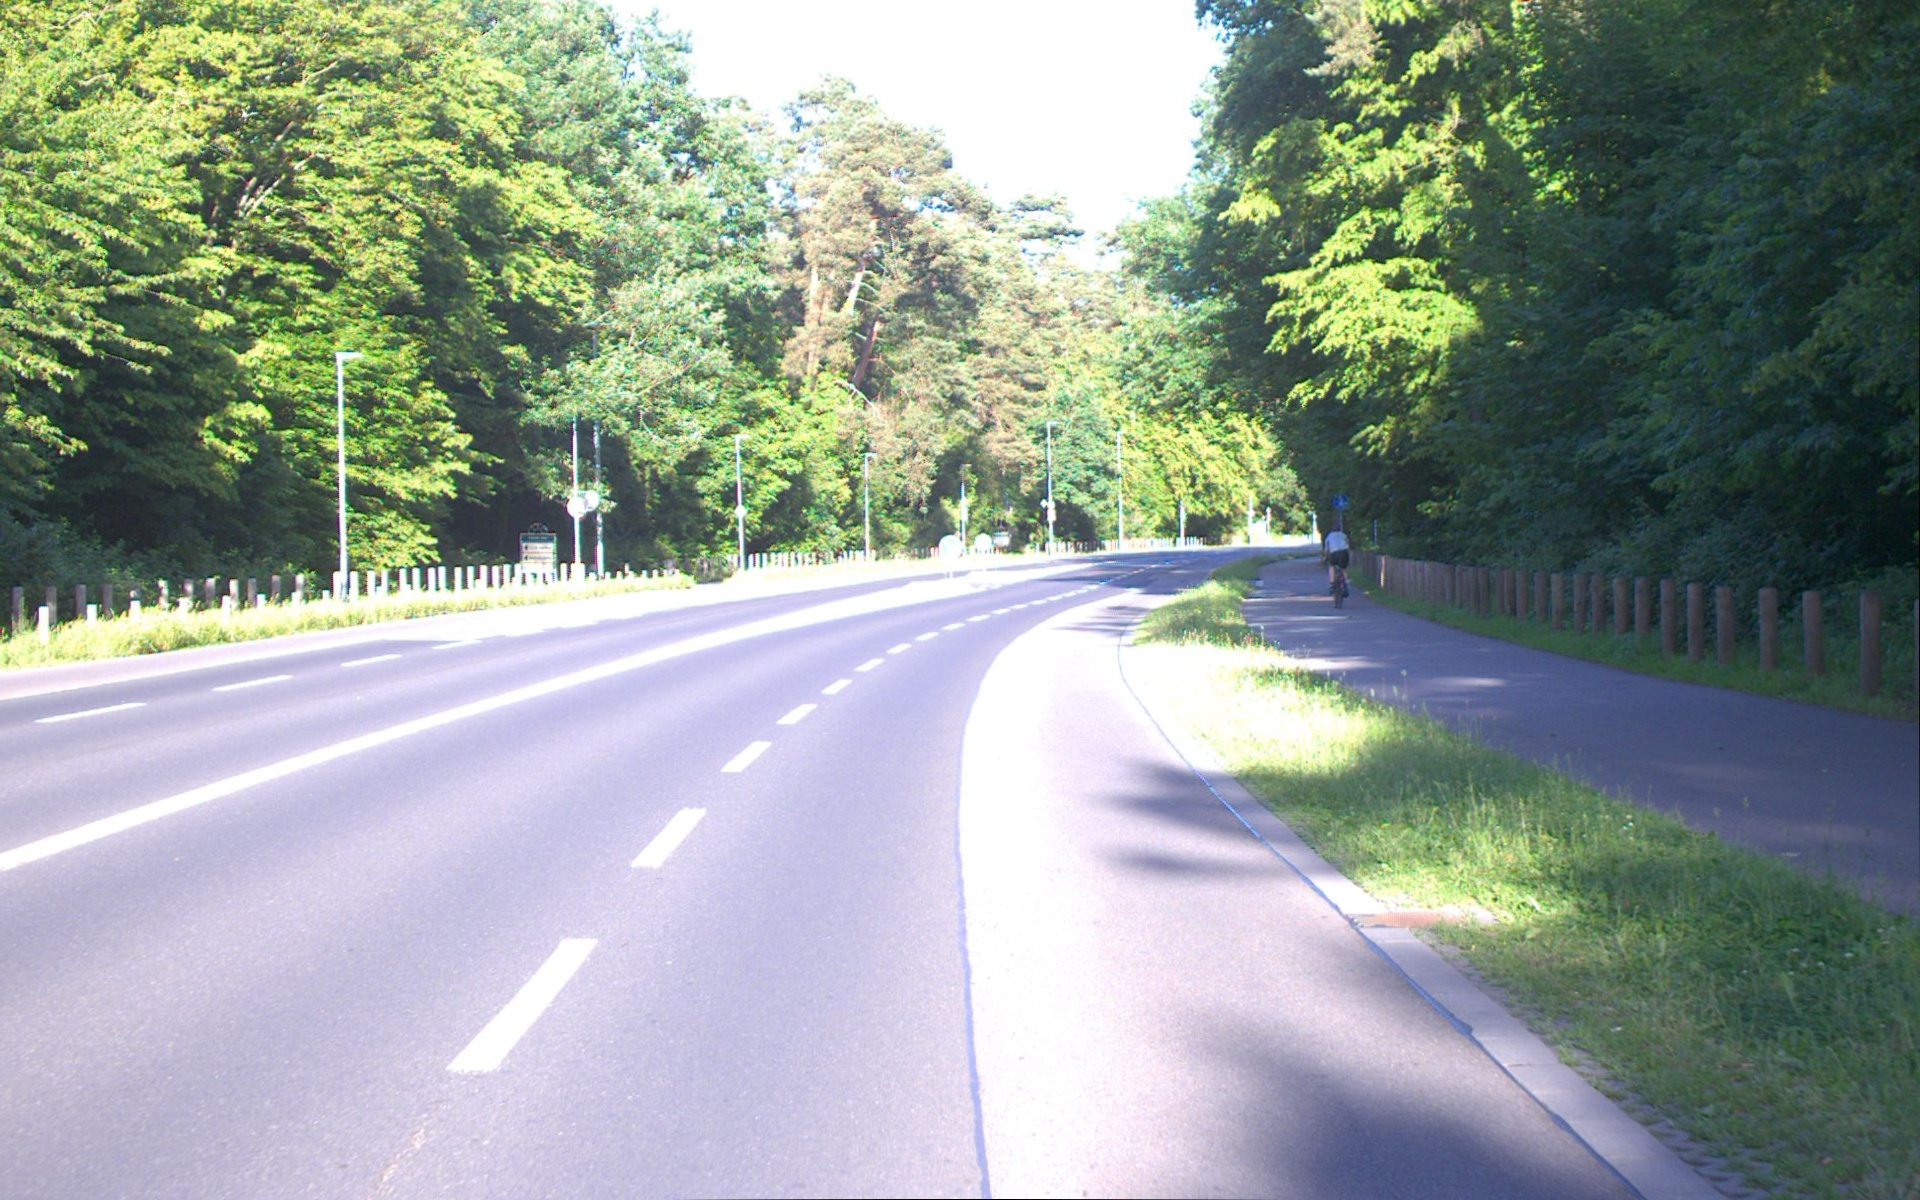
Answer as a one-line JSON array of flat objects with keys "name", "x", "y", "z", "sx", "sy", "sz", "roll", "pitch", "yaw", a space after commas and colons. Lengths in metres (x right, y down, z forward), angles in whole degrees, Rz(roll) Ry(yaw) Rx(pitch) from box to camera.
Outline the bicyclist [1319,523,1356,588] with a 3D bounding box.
[{"name": "bicyclist", "x": 7.519, "y": -0.887, "z": 68.535, "sx": 0.712, "sy": 1.284, "sz": 1.104, "roll": 0, "pitch": 1, "yaw": 6}]

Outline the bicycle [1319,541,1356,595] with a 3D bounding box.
[{"name": "bicycle", "x": 7.509, "y": -0.640, "z": 68.443, "sx": 0.712, "sy": 1.052, "sz": 2.052, "roll": 0, "pitch": 1, "yaw": 6}]
